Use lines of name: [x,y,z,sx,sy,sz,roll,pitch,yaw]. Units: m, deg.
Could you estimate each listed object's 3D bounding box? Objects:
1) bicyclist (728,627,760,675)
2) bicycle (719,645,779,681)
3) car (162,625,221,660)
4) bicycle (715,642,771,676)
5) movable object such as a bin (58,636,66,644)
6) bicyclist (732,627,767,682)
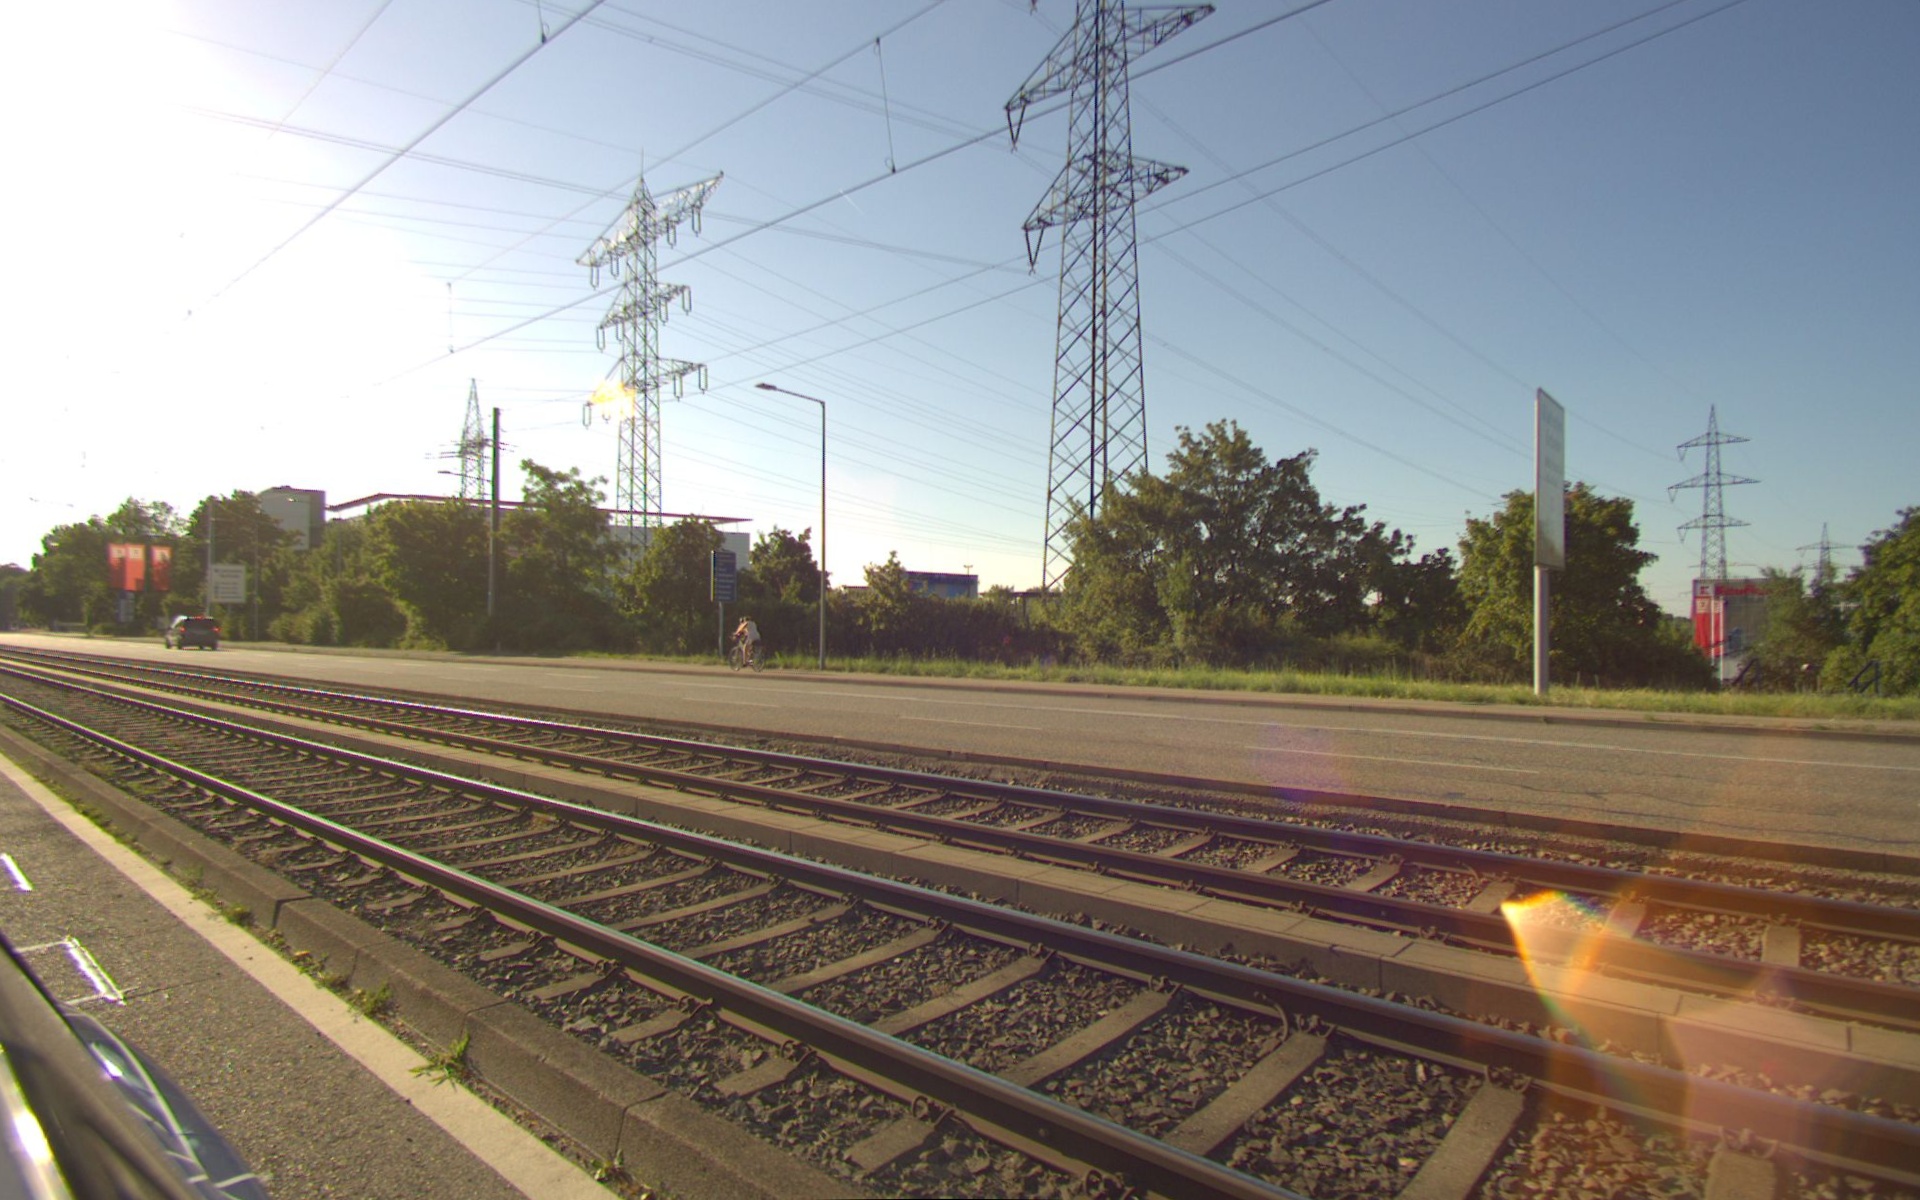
bicyclist: [-6.995,1.635,32.724,0.905,1.540,0.584,-1,-2,41]
bicycle: [-6.392,1.892,30.609,2.184,1.029,0.584,-1,-2,41]
car: [-46.056,2.545,60.612,4.859,1.937,1.972,-5,-4,43]
bicycle: [-7.025,1.902,32.740,2.184,1.029,0.584,-1,-2,41]
movable object such as a bin: [-110.606,4.889,124.612,1.083,0.973,0.606,-1,0,42]
bicyclist: [-6.356,1.640,30.577,0.966,1.623,0.584,-1,-2,41]
